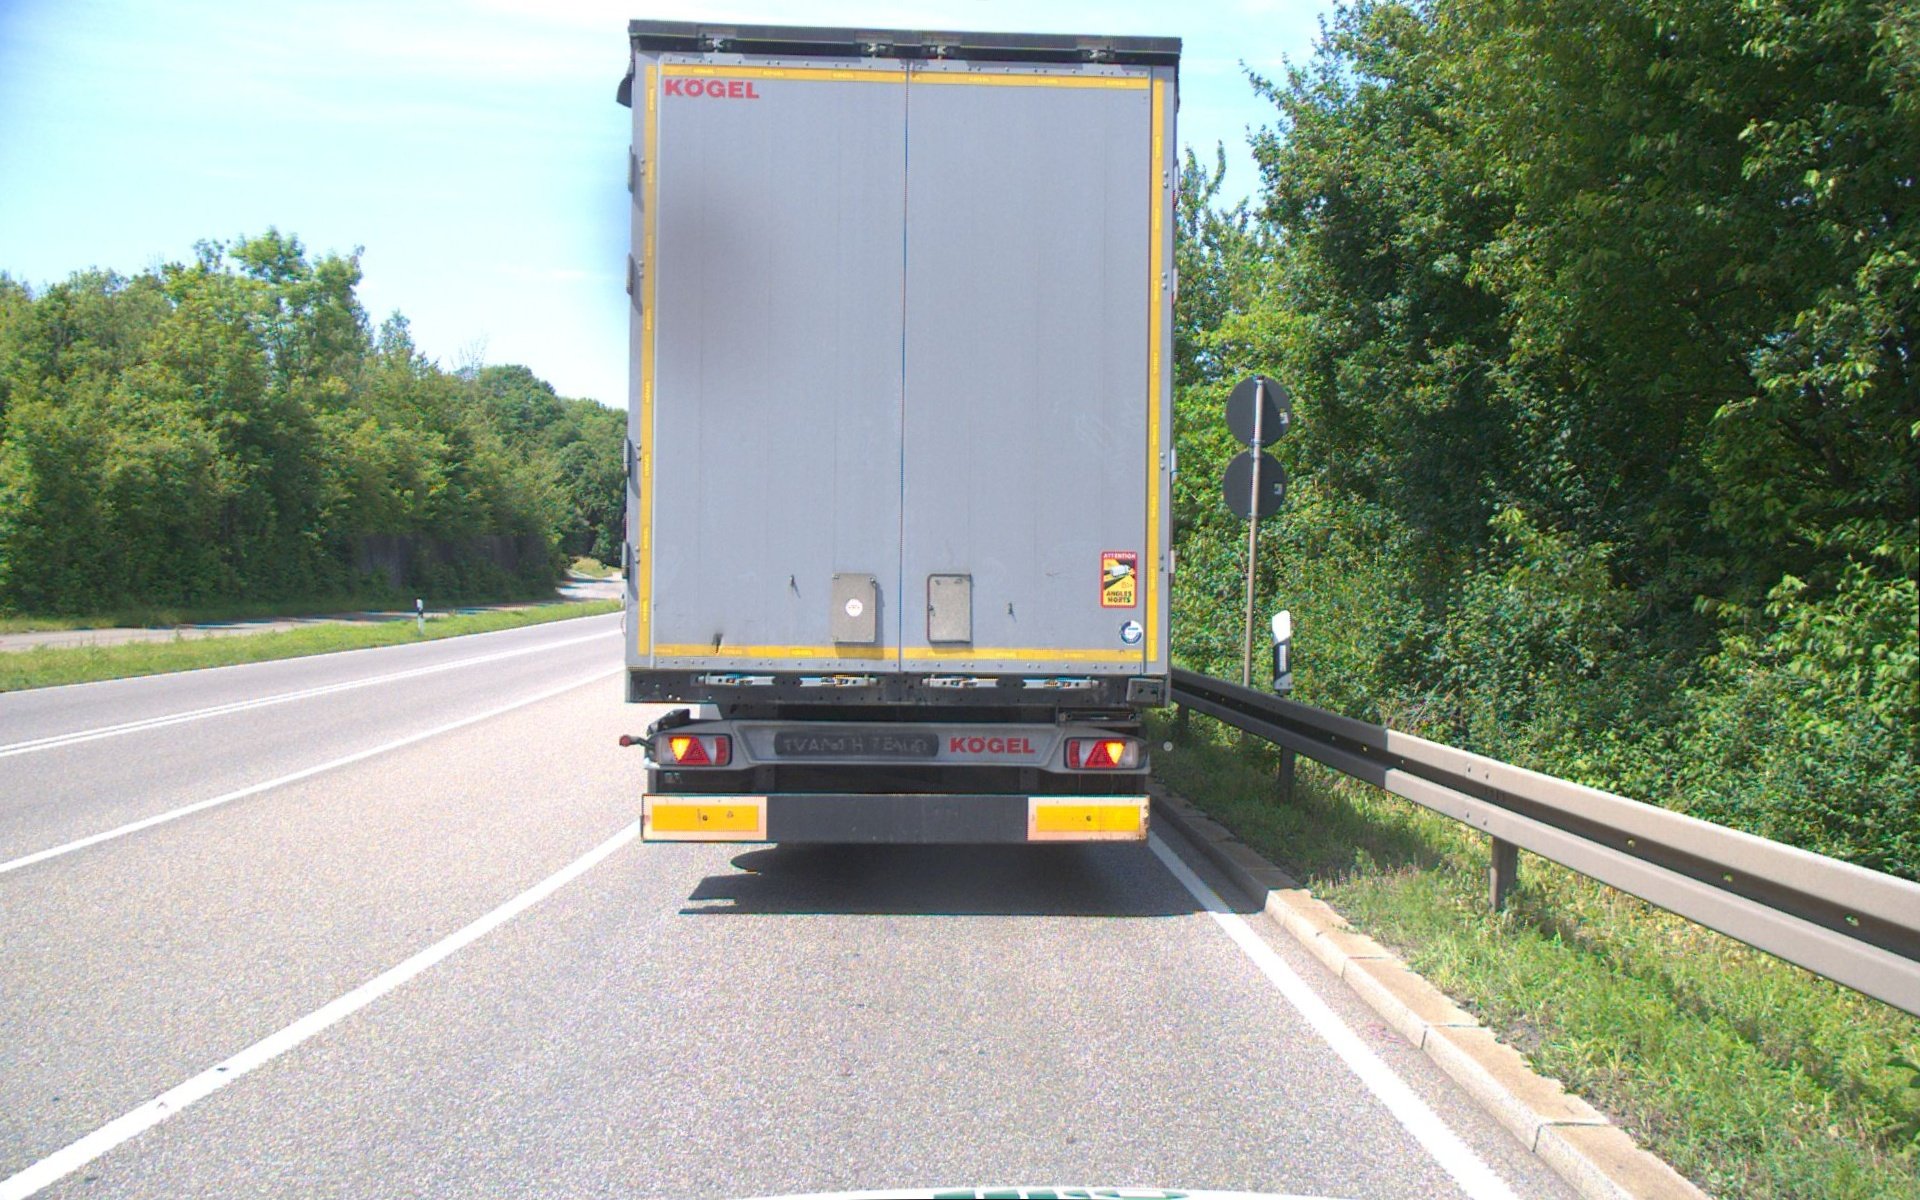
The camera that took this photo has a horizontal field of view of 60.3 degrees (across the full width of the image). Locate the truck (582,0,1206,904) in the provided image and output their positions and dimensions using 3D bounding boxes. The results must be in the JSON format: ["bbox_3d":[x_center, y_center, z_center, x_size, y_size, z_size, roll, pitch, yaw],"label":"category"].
[{"bbox_3d":[-0.436,-0.764,13.236,2.701,4.100,11.920,1,0,-2],"label":"truck"}]
